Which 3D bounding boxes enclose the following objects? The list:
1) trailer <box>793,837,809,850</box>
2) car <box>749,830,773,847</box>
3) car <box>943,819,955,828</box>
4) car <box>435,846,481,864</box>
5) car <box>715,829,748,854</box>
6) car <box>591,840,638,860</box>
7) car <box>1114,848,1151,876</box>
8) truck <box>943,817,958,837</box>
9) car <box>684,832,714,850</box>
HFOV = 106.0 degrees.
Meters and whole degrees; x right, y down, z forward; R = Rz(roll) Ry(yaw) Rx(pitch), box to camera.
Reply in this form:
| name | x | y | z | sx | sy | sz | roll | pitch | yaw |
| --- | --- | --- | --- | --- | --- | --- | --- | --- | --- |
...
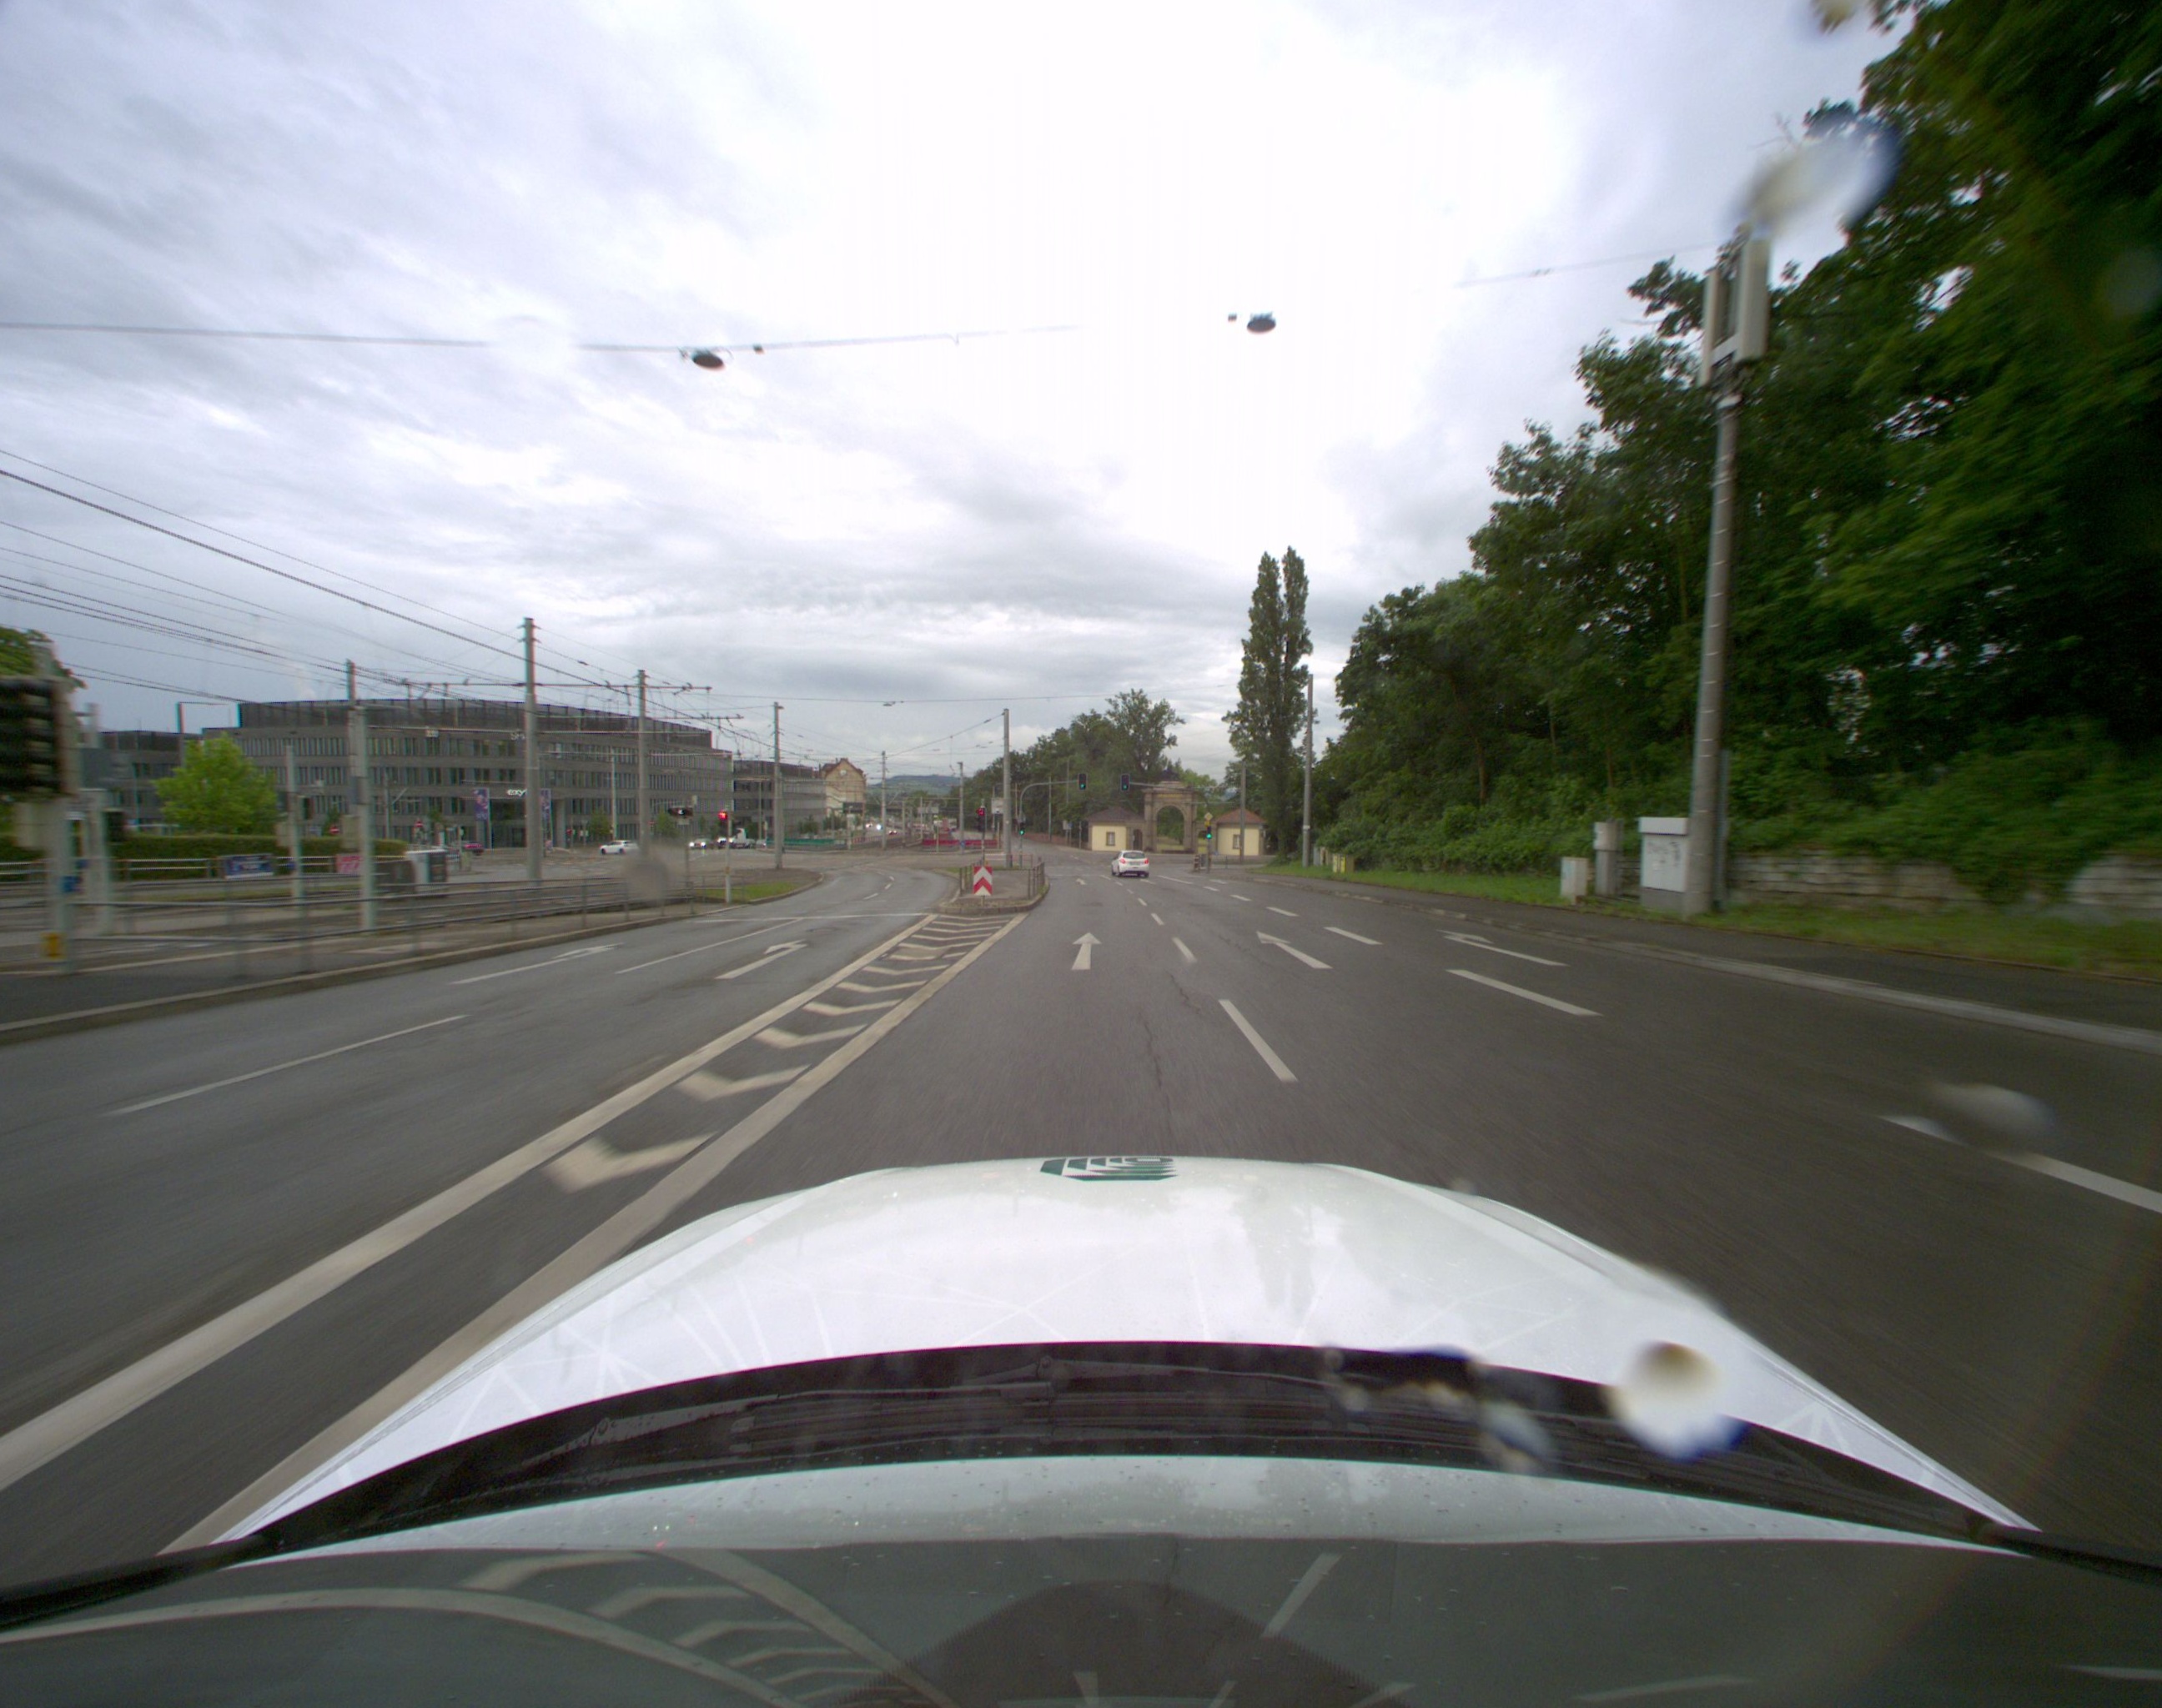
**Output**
| name | x | y | z | sx | sy | sz | roll | pitch | yaw |
| --- | --- | --- | --- | --- | --- | --- | --- | --- | --- |
| trailer | -47.657 | -1.814 | 138.749 | 1.824 | 2.074 | 4.263 | 0 | -1 | -8 |
| car | -43.564 | -2.097 | 110.803 | 1.991 | 2.153 | 4.237 | -1 | -2 | -7 |
| car | -27.272 | -6.302 | 168.012 | 1.997 | 1.872 | 3.979 | -1 | 2 | -15 |
| car | -67.182 | 0.135 | 87.846 | 3.956 | 1.816 | 2.009 | 0 | -1 | 17 |
| car | -43.081 | -1.556 | 100.499 | 1.991 | 2.831 | 5.705 | -2 | 1 | -6 |
| car | -47.937 | -0.373 | 83.644 | 3.956 | 2.014 | 2.009 | 0 | -1 | 17 |
| car | 2.862 | 0.450 | 45.640 | 1.947 | 1.488 | 4.002 | 0 | -1 | 3 |
| truck | -39.346 | -8.010 | 245.333 | 3.469 | 5.401 | 11.993 | 0 | -1 | -14 |
| car | -46.878 | -1.627 | 100.031 | 1.991 | 2.153 | 4.238 | -1 | 0 | -7 |
